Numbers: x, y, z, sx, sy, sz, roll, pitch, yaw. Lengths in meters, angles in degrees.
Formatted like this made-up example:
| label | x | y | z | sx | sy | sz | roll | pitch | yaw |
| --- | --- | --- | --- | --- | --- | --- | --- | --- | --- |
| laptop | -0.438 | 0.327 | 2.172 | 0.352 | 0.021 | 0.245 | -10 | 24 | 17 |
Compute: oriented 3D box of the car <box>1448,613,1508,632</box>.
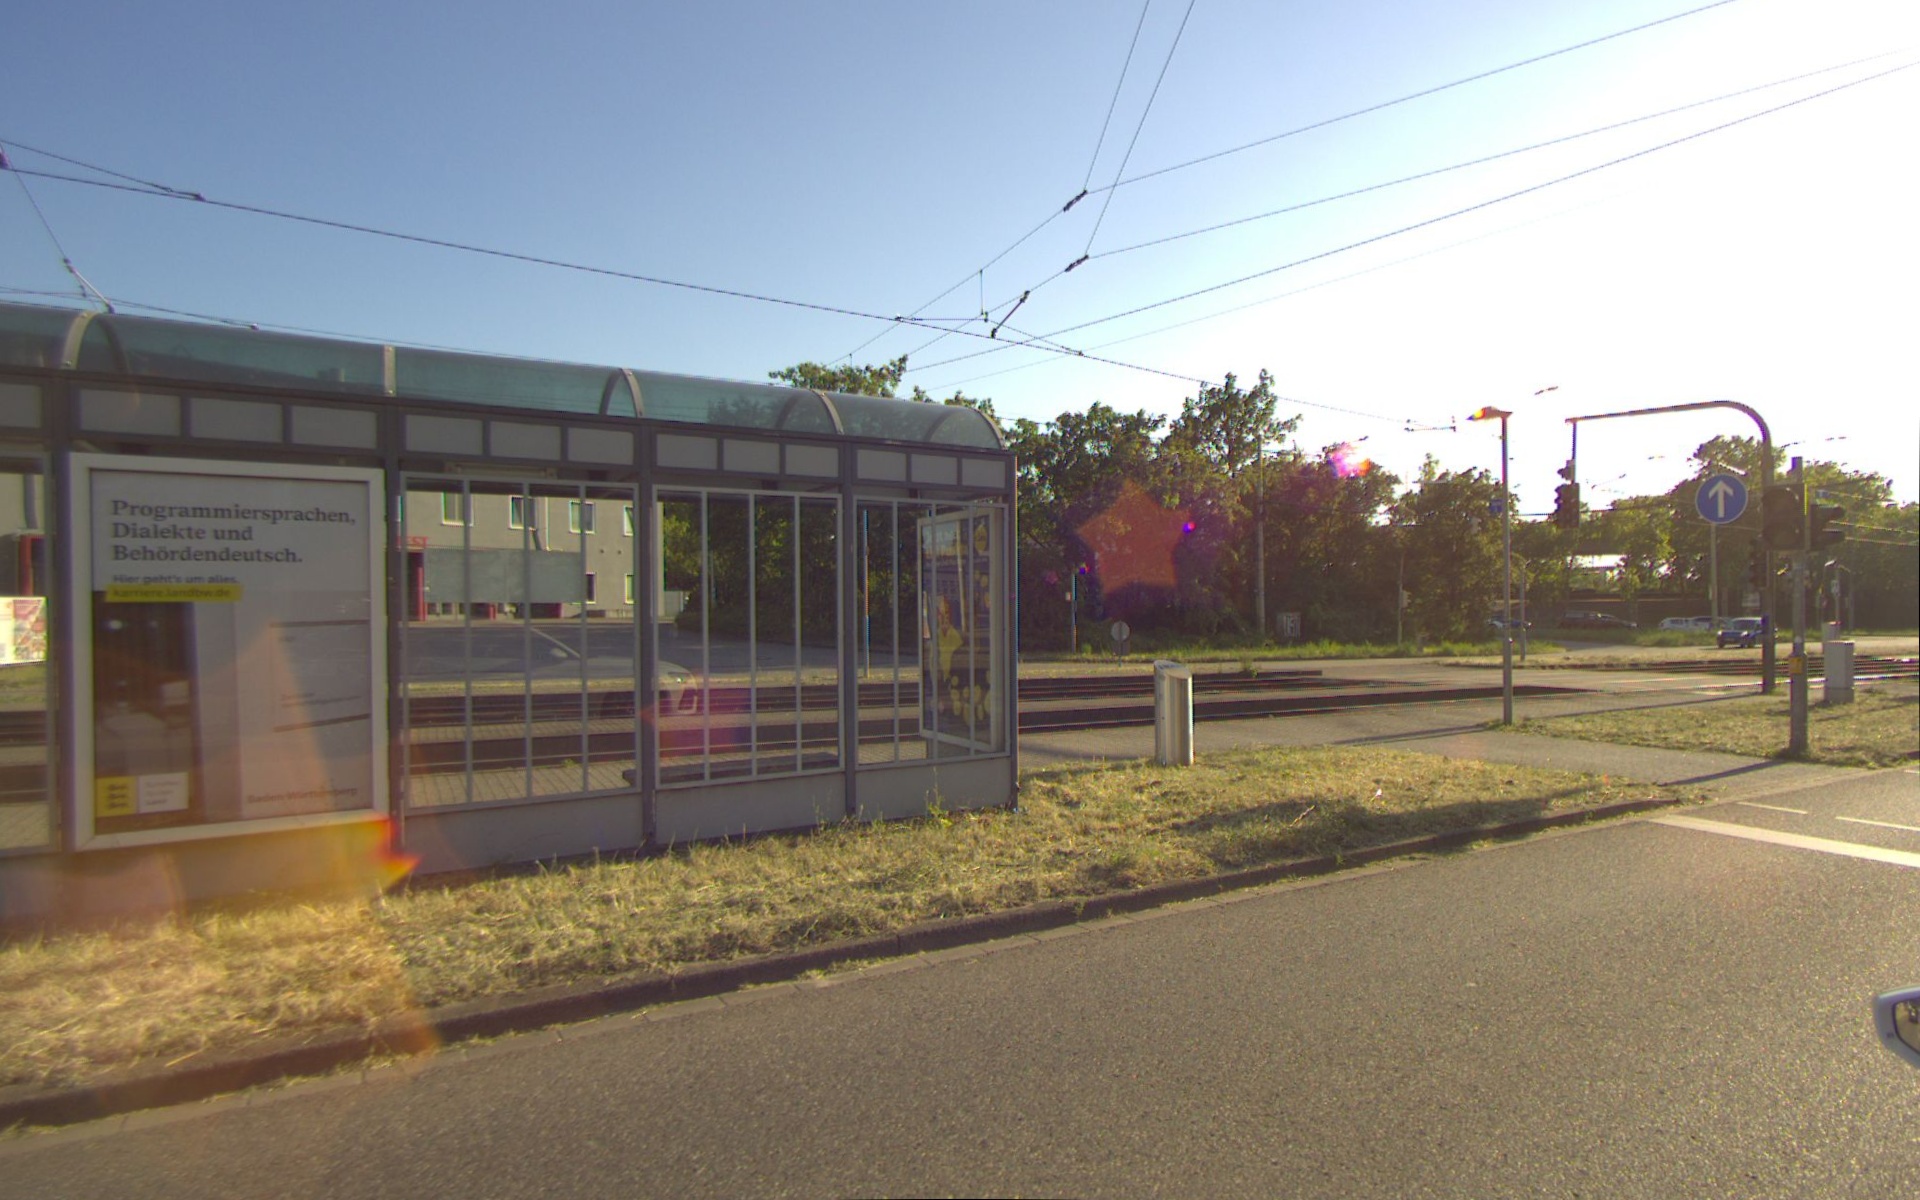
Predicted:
| label | x | y | z | sx | sy | sz | roll | pitch | yaw |
| --- | --- | --- | --- | --- | --- | --- | --- | --- | --- |
| car | 45.958 | 2.012 | 89.123 | 4.681 | 1.595 | 1.691 | -1 | -2 | 29 |

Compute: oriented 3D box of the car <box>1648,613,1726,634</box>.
| label | x | y | z | sx | sy | sz | roll | pitch | yaw |
| --- | --- | --- | --- | --- | --- | --- | --- | --- | --- |
| car | 60.958 | 1.930 | 84.300 | 5.280 | 1.596 | 1.734 | 0 | 0 | 36 |

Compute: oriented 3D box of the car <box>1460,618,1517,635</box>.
| label | x | y | z | sx | sy | sz | roll | pitch | yaw |
| --- | --- | --- | --- | --- | --- | --- | --- | --- | --- |
| car | 48.464 | 2.407 | 92.165 | 4.542 | 1.478 | 1.690 | 1 | 1 | 30 |

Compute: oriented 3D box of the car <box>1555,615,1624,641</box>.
| label | x | y | z | sx | sy | sz | roll | pitch | yaw |
| --- | --- | --- | --- | --- | --- | --- | --- | --- | --- |
| car | 53.003 | 2.349 | 84.710 | 4.855 | 2.017 | 2.033 | 0 | 0 | 30 |

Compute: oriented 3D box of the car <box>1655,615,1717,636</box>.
| label | x | y | z | sx | sy | sz | roll | pitch | yaw |
| --- | --- | --- | --- | --- | --- | --- | --- | --- | --- |
| car | 58.762 | 2.010 | 81.375 | 3.932 | 1.596 | 1.689 | 0 | 0 | 34 |

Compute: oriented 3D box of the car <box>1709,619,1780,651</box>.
| label | x | y | z | sx | sy | sz | roll | pitch | yaw |
| --- | --- | --- | --- | --- | --- | --- | --- | --- | --- |
| car | 47.644 | 2.080 | 60.956 | 4.207 | 1.811 | 1.925 | 0 | 0 | -29 |
